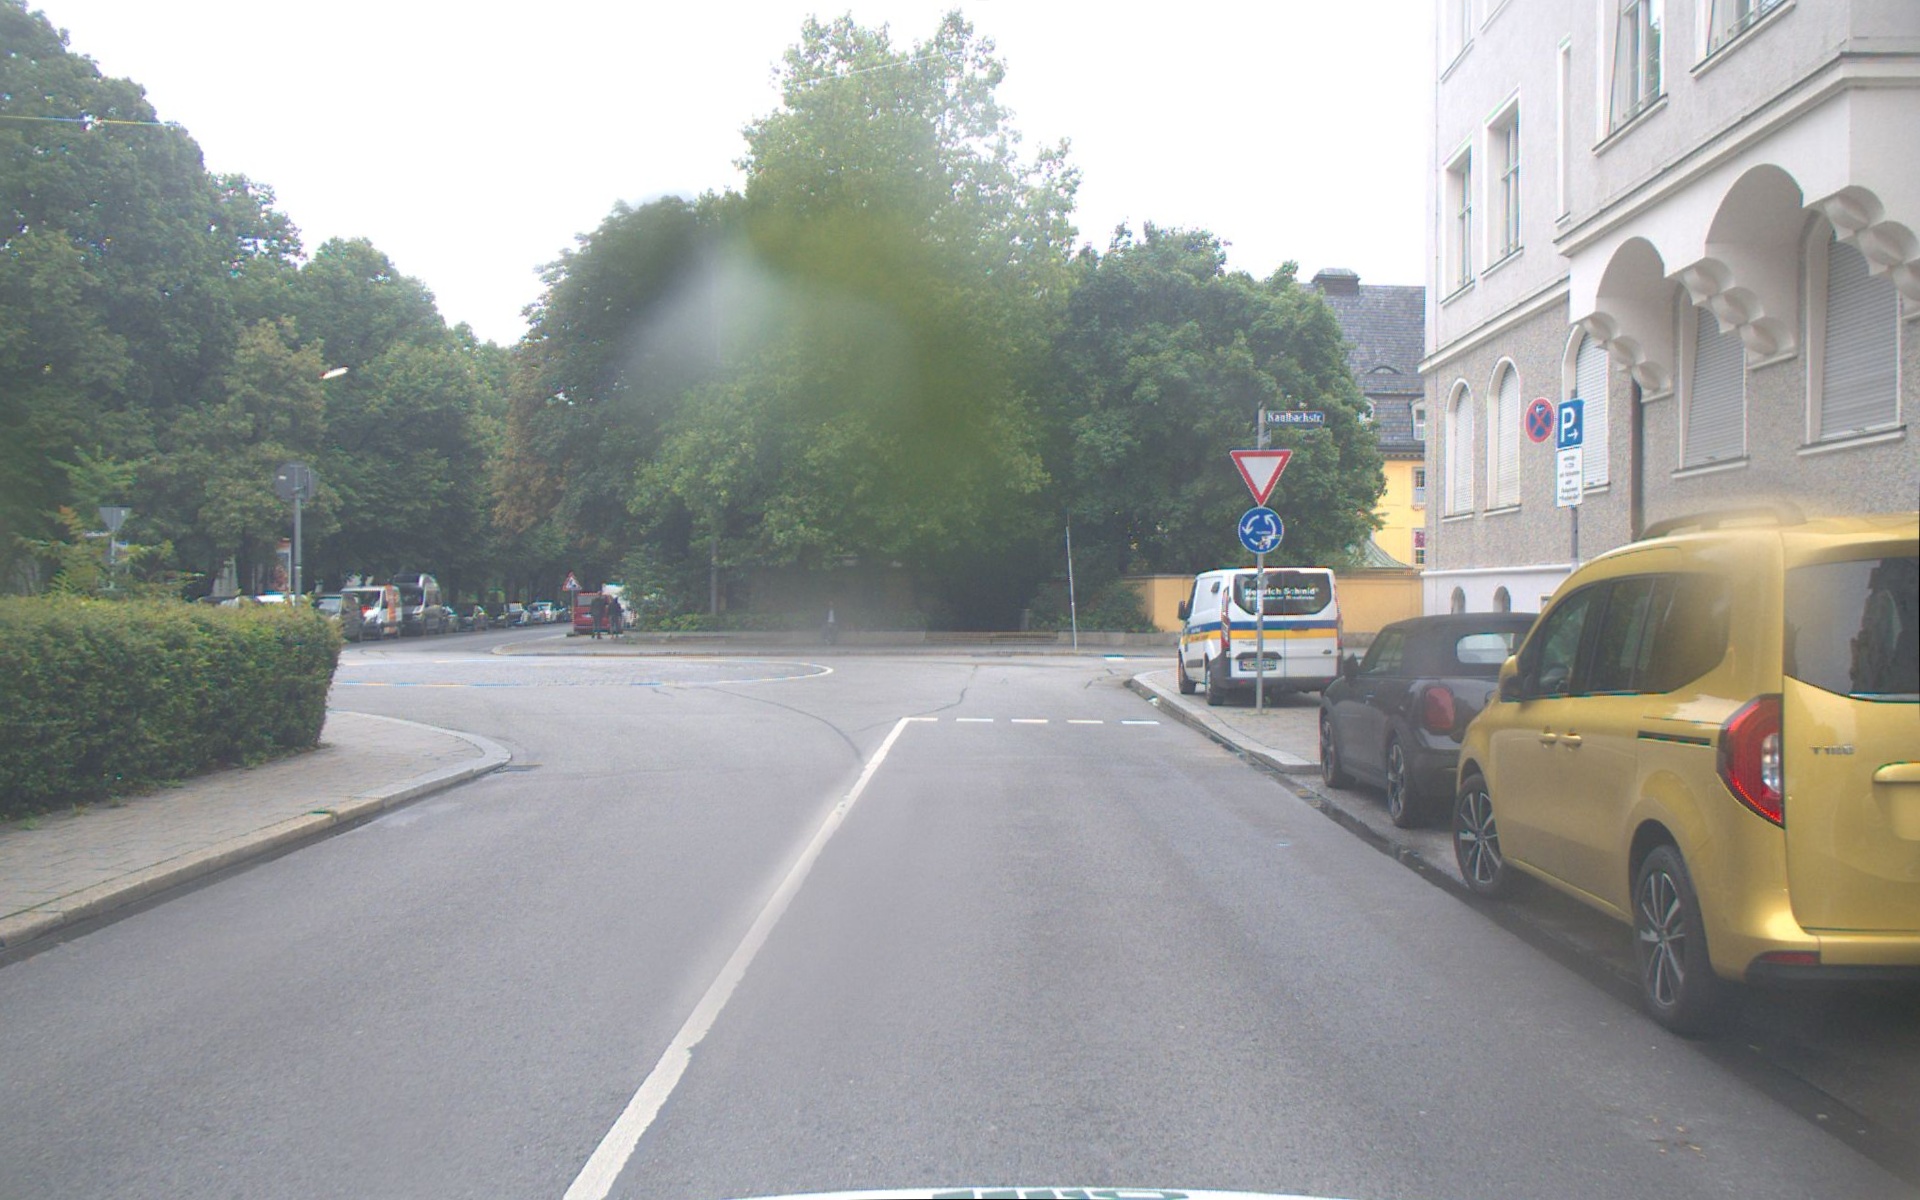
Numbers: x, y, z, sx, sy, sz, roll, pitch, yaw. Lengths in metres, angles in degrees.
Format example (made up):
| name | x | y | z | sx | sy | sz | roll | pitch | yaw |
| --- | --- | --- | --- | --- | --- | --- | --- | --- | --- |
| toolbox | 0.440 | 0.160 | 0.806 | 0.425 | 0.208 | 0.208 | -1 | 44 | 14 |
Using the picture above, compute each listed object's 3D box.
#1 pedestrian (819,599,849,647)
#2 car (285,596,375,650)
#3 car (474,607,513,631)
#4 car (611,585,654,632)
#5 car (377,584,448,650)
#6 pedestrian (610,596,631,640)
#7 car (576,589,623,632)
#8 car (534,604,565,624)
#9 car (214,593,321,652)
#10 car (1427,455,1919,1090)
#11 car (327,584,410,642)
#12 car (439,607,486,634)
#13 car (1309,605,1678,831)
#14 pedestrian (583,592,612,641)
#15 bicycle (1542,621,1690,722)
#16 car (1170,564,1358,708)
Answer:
| name | x | y | z | sx | sy | sz | roll | pitch | yaw |
| --- | --- | --- | --- | --- | --- | --- | --- | --- | --- |
| pedestrian | -3.691 | 0.664 | 48.581 | 0.753 | 1.380 | 1.132 | 0 | 0 | 2 |
| car | -24.259 | 0.853 | 63.914 | 1.988 | 1.941 | 5.656 | -1 | 0 | -8 |
| car | -29.419 | 1.196 | 104.434 | 1.957 | 1.513 | 4.120 | 0 | 0 | -10 |
| car | -18.580 | 0.456 | 94.007 | 1.955 | 2.603 | 5.422 | 0 | 0 | -7 |
| car | -26.328 | 0.779 | 79.744 | 2.132 | 3.055 | 6.222 | 0 | 0 | -8 |
| pedestrian | -13.119 | 0.699 | 63.933 | 0.626 | 1.696 | 0.690 | 0 | 0 | -29 |
| car | -16.971 | 0.485 | 78.069 | 1.876 | 1.971 | 4.958 | 0 | 0 | -9 |
| car | -31.405 | 1.027 | 126.676 | 1.957 | 1.513 | 4.120 | 0 | 0 | -10 |
| car | -23.646 | 0.746 | 56.693 | 2.043 | 1.937 | 4.852 | 0 | 0 | -6 |
| car | 3.585 | 0.527 | 7.345 | 1.952 | 1.952 | 4.573 | 0 | 0 | 3 |
| car | -25.275 | 0.553 | 70.892 | 2.044 | 2.304 | 5.594 | -2 | 0 | -6 |
| car | -27.401 | 1.139 | 91.207 | 1.957 | 1.445 | 4.120 | 0 | 0 | -10 |
| car | 3.903 | 0.781 | 12.771 | 1.677 | 1.470 | 3.828 | 0 | 0 | 1 |
| pedestrian | -14.062 | 0.627 | 64.203 | 0.812 | 1.868 | 0.941 | 0 | 0 | -34 |
| bicycle | 8.485 | 0.890 | 21.557 | 0.821 | 1.132 | 2.758 | -3 | 0 | 1 |
| car | 4.559 | 0.488 | 25.606 | 1.899 | 1.955 | 5.374 | -1 | 0 | 0 |
